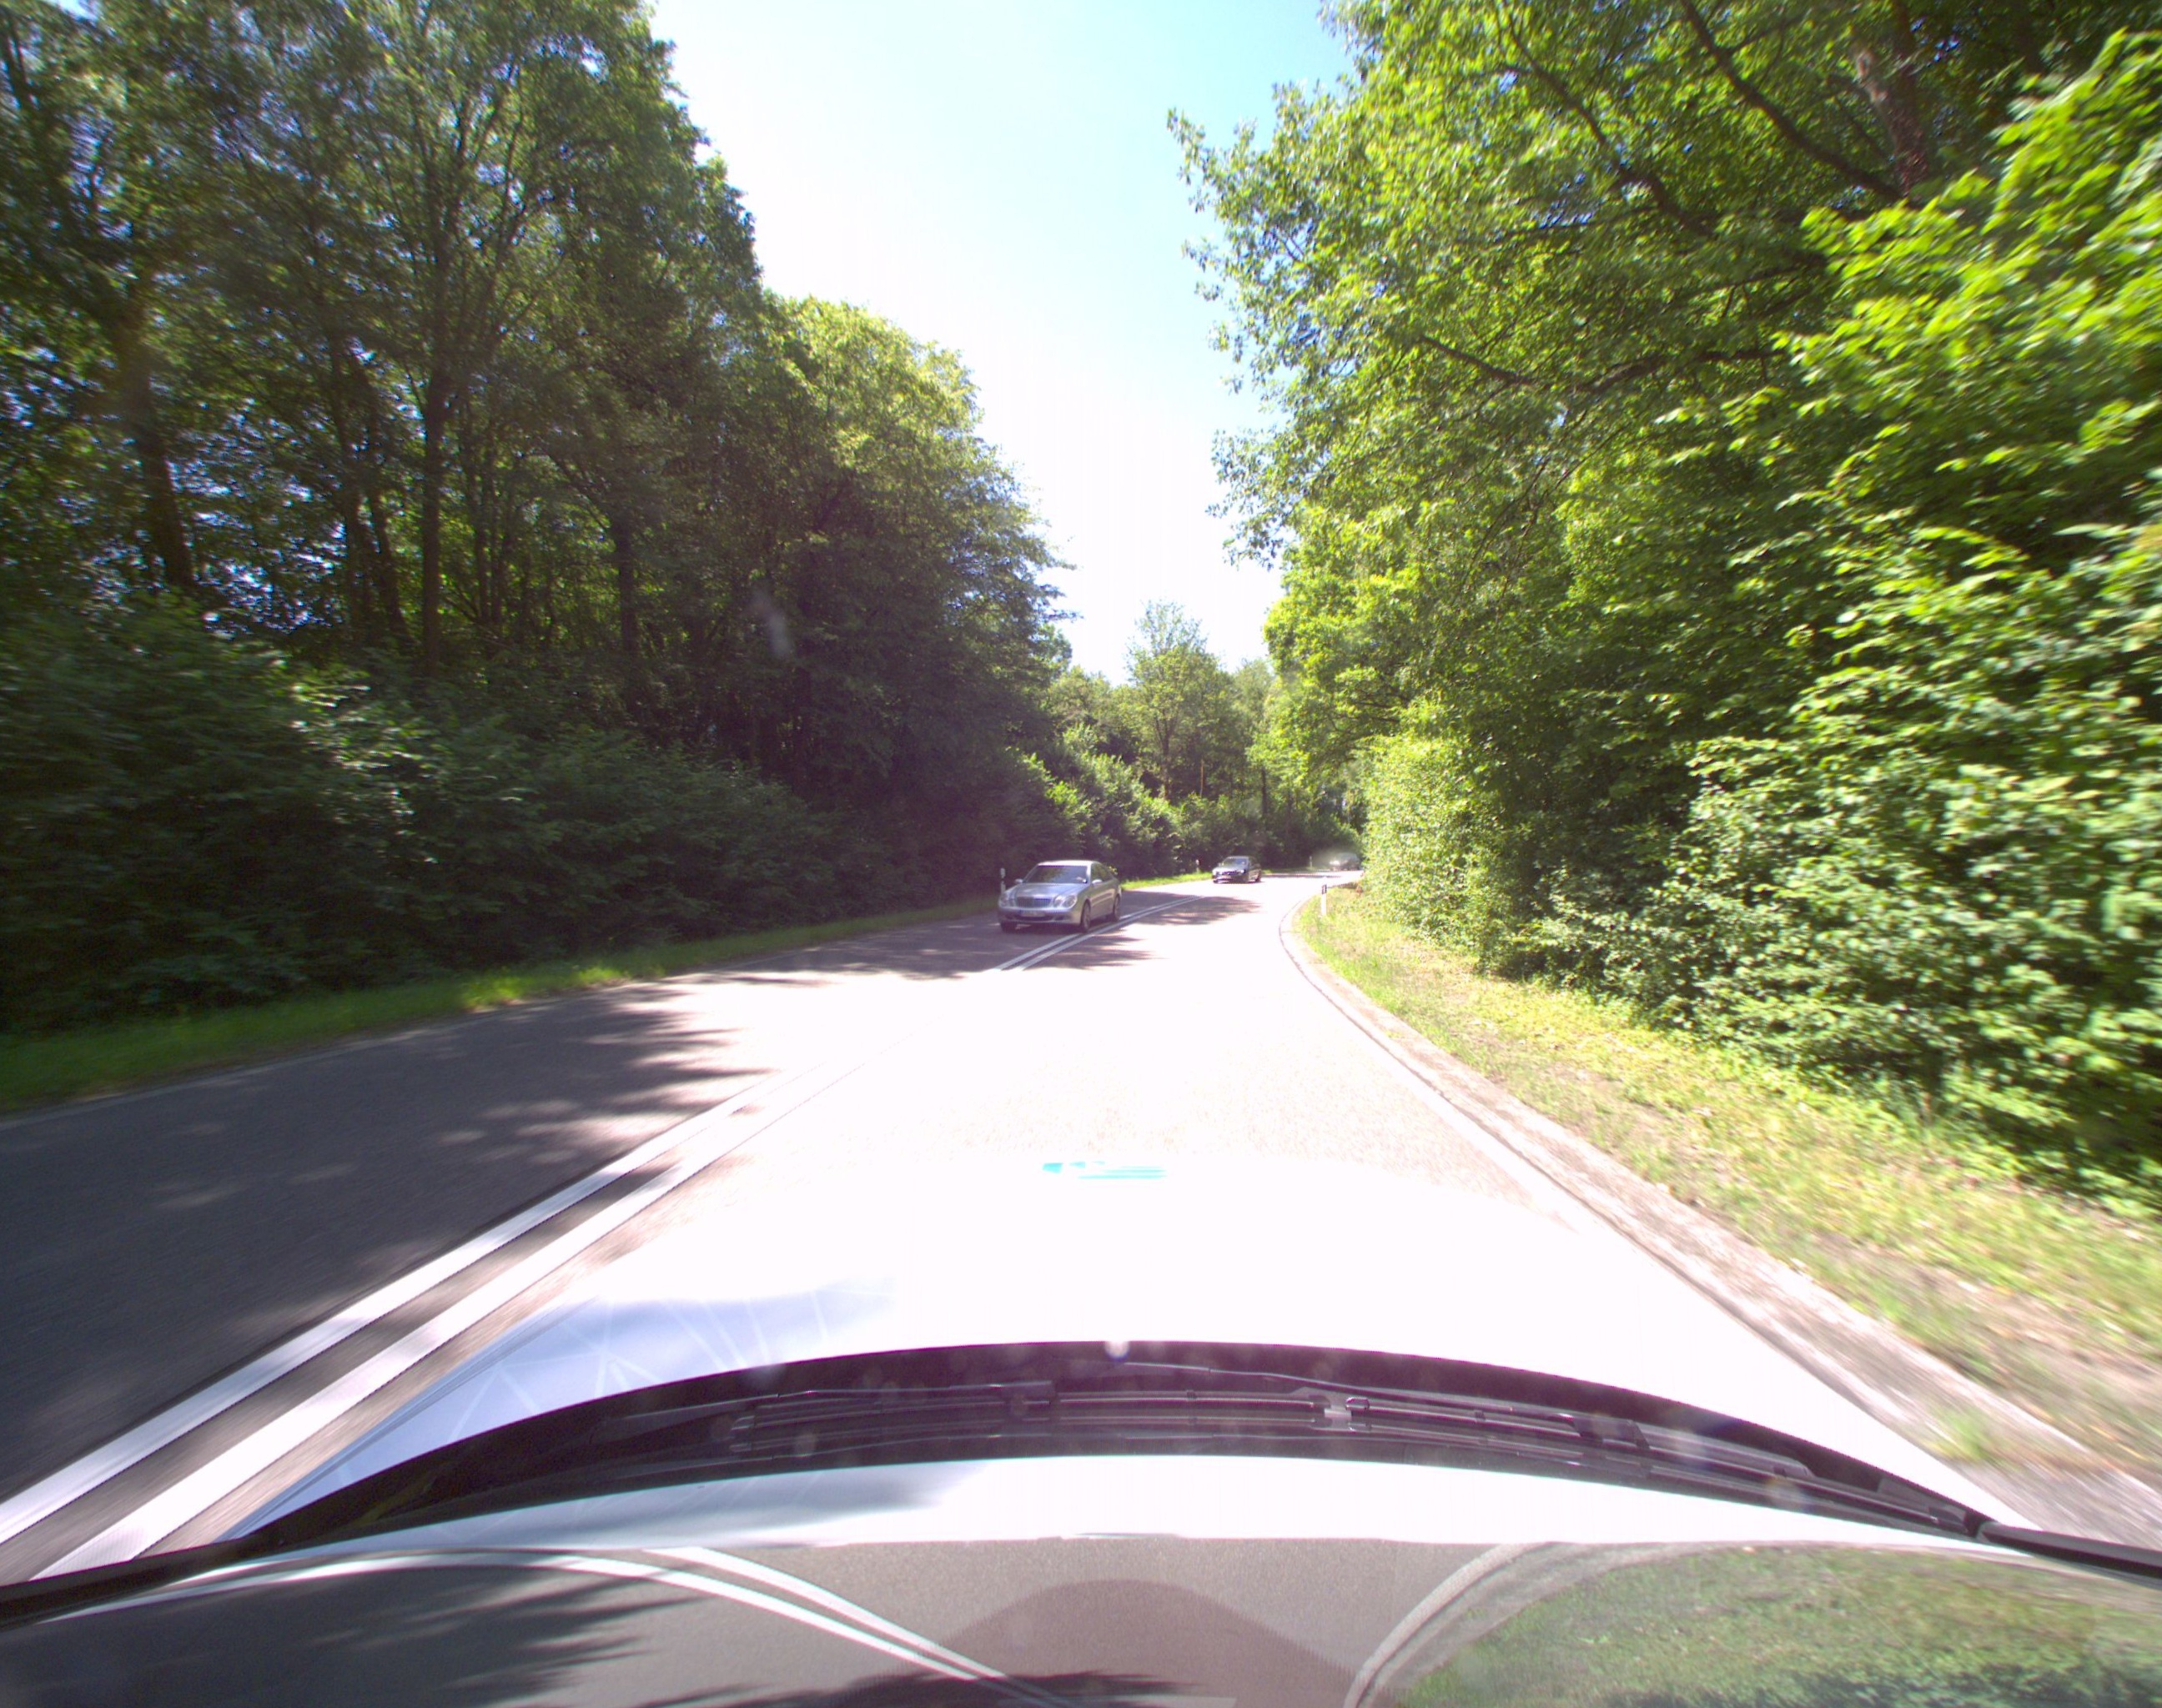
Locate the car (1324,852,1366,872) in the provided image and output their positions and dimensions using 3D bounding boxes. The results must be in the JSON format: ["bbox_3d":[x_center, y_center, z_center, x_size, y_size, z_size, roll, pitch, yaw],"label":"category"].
[{"bbox_3d":[22.049,0.693,67.984,3.916,1.574,1.662,0,-2,-43],"label":"car"}]

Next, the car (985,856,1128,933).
[{"bbox_3d":[-0.365,0.827,18.318,1.832,1.486,4.784,-2,-1,16],"label":"car"}]

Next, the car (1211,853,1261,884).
[{"bbox_3d":[8.443,0.770,44.026,1.741,1.574,4.391,0,-1,23],"label":"car"}]
